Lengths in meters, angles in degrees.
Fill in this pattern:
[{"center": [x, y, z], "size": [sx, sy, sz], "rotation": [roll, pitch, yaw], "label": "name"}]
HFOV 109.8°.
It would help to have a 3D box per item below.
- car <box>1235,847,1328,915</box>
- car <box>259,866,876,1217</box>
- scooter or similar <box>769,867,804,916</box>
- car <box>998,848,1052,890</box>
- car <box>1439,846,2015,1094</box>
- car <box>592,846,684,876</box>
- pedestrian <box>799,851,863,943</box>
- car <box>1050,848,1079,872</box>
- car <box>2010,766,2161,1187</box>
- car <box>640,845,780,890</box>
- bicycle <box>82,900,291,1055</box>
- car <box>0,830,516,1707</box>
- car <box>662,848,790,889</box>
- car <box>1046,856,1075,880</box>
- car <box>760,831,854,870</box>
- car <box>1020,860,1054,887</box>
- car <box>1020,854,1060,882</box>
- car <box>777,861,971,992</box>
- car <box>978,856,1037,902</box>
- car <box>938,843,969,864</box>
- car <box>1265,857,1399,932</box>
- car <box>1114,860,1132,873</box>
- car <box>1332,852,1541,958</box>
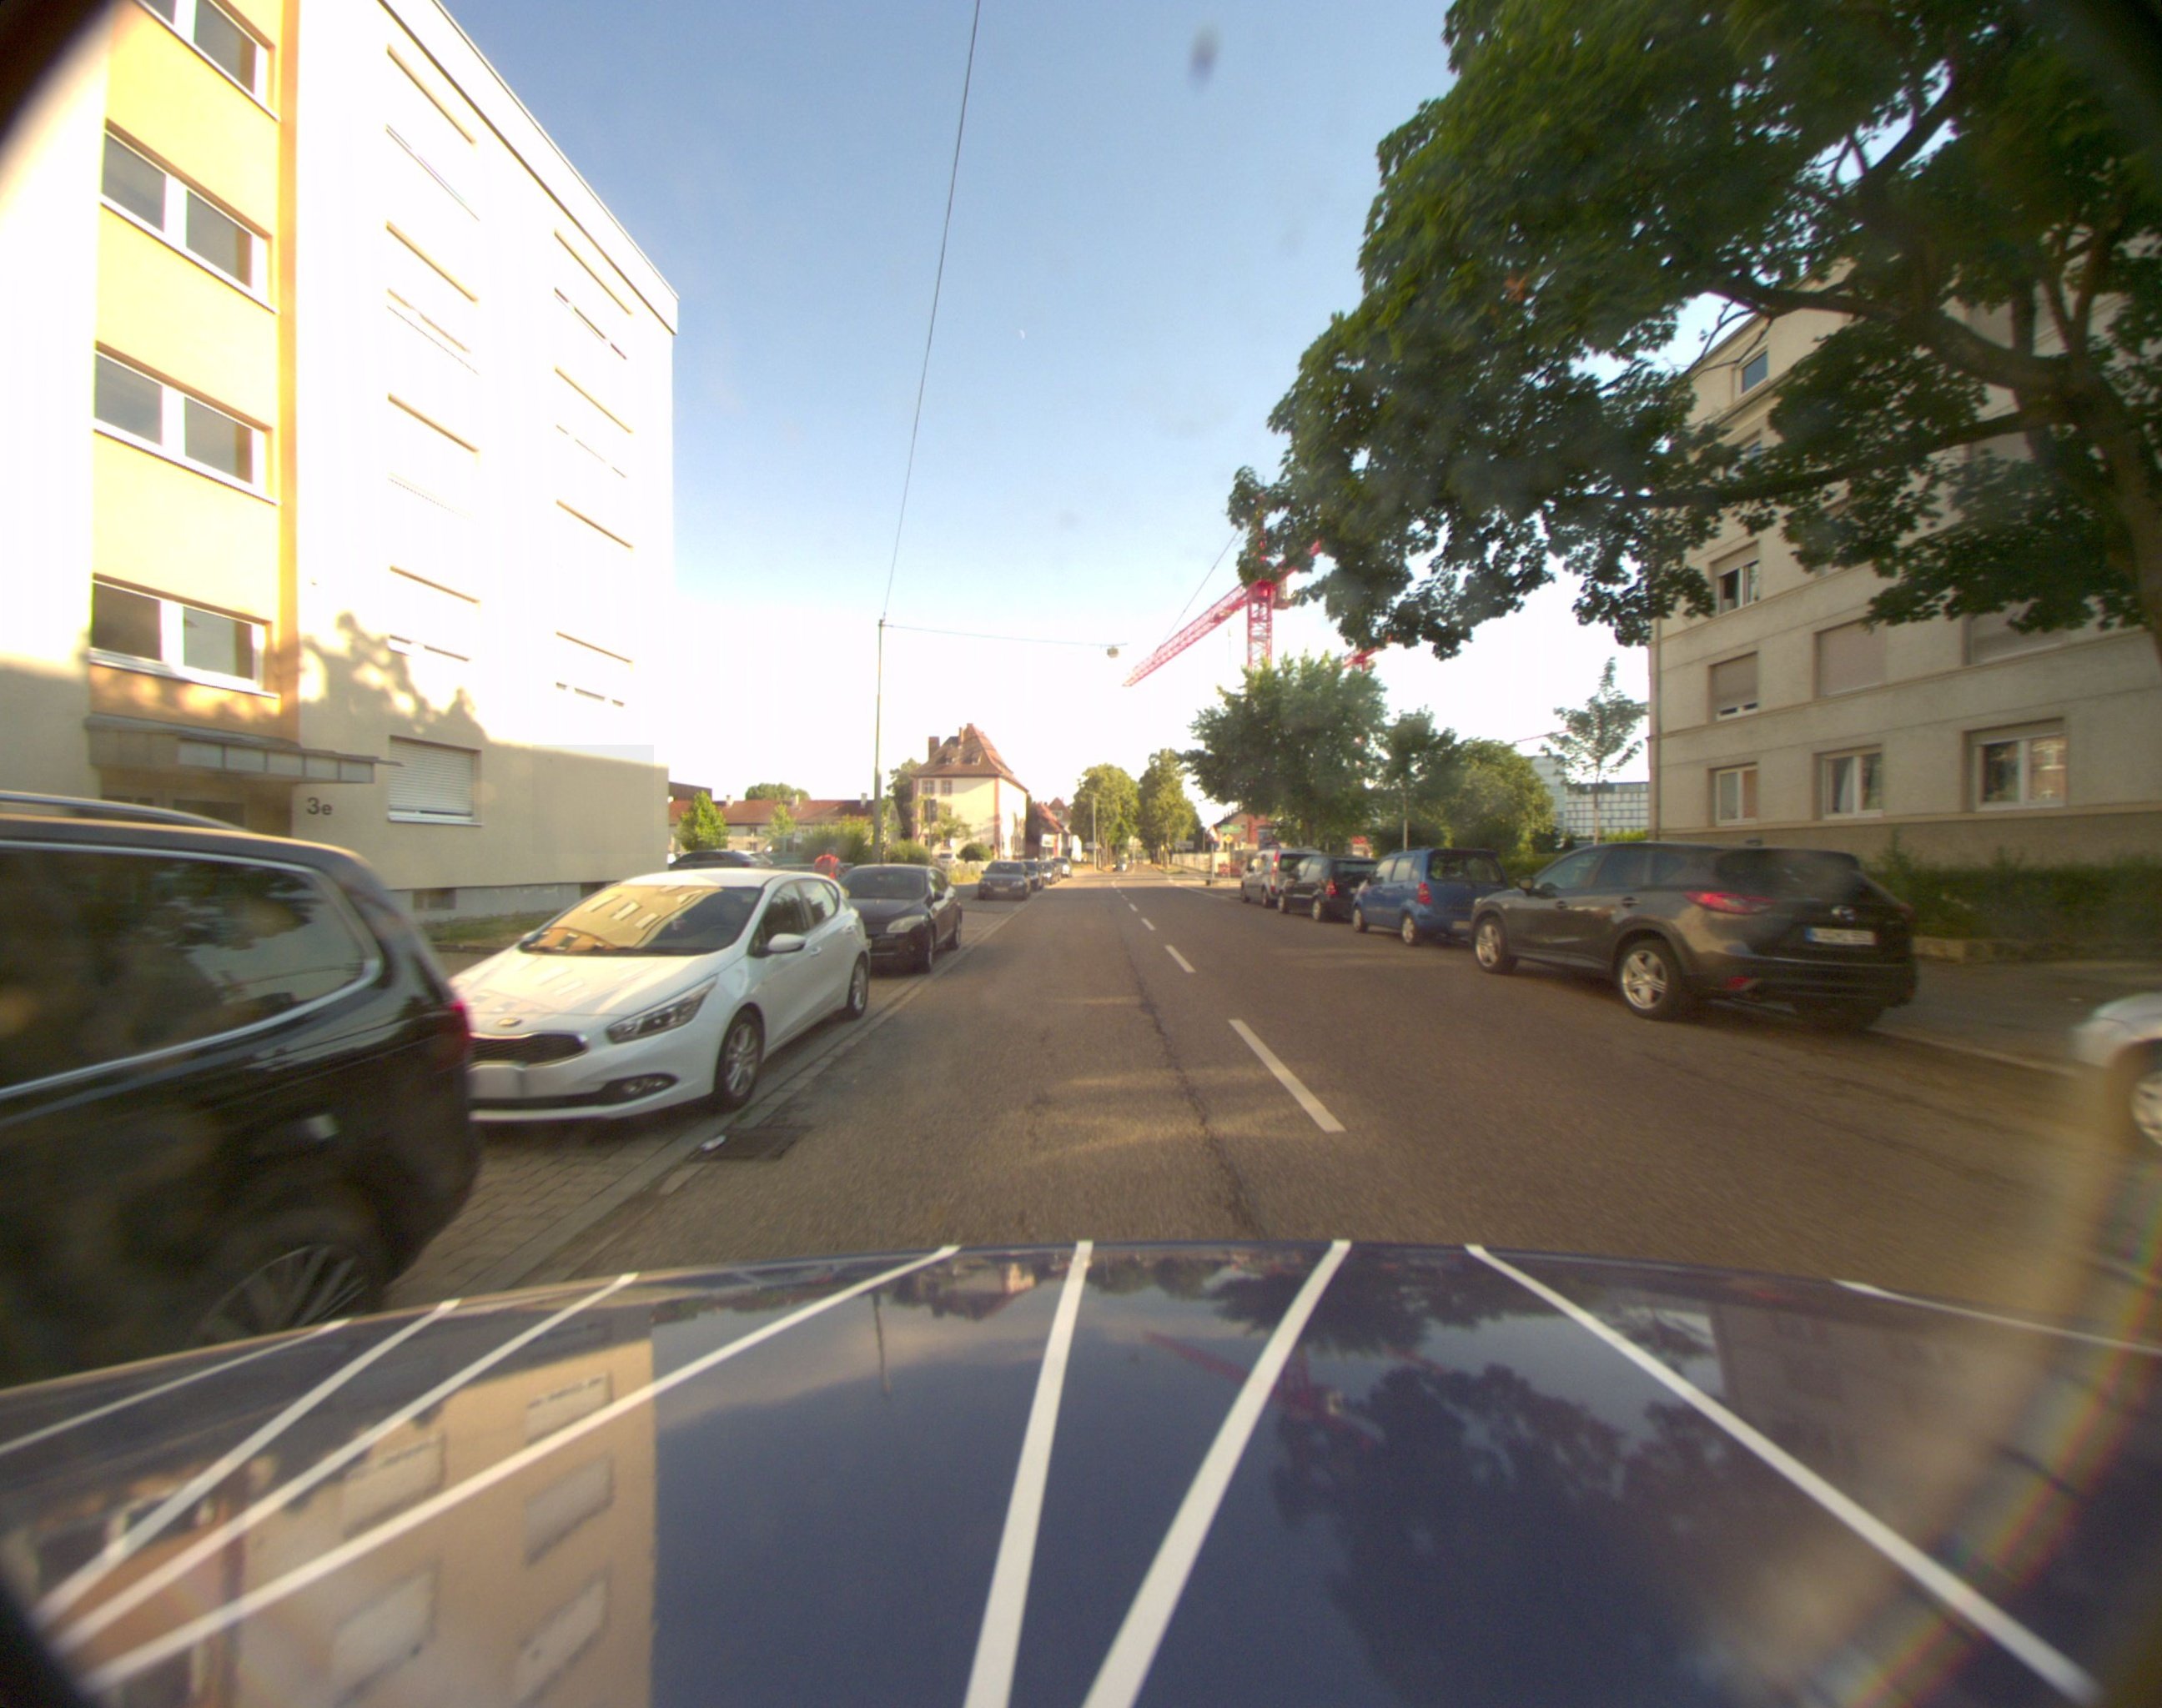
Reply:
[{"center": [6.151, 0.743, 23.838], "size": [1.846, 1.885, 4.486], "rotation": [0, 1, 2], "label": "car"}, {"center": [-3.024, 0.946, 5.684], "size": [1.776, 1.499, 3.999], "rotation": [-3, 1, 1], "label": "car"}, {"center": [-7.740, 0.960, 19.993], "size": [0.334, 1.185, 1.240], "rotation": [4, 1, 1], "label": "scooter or similar"}, {"center": [-2.654, 0.671, 37.234], "size": [1.906, 1.769, 4.582], "rotation": [5, 1, 3], "label": "car"}, {"center": [5.854, 0.838, 7.932], "size": [1.878, 1.749, 4.688], "rotation": [2, 1, -1], "label": "car"}, {"center": [-26.513, 0.401, 45.525], "size": [4.487, 1.592, 1.732], "rotation": [-2, 1, 4], "label": "car"}, {"center": [-5.455, 0.908, 16.658], "size": [0.891, 1.880, 1.279], "rotation": [-2, 1, 1], "label": "pedestrian"}, {"center": [-1.329, 0.466, 62.164], "size": [1.925, 1.769, 4.810], "rotation": [3, 1, 3], "label": "car"}, {"center": [6.131, 0.631, 2.163], "size": [1.998, 2.002, 3.999], "rotation": [2, 1, 1], "label": "car"}, {"center": [-13.932, 0.478, 28.678], "size": [4.486, 1.593, 1.732], "rotation": [0, 1, 4], "label": "car"}, {"center": [-8.003, 1.056, 6.870], "size": [0.334, 1.185, 1.240], "rotation": [-1, 1, 2], "label": "bicycle"}, {"center": [-2.877, 0.821, 0.305], "size": [1.776, 1.668, 4.646], "rotation": [2, 1, 1], "label": "car"}, {"center": [-14.779, 0.581, 31.729], "size": [4.487, 1.447, 1.732], "rotation": [-2, 1, 4], "label": "car"}, {"center": [-1.462, 0.999, 55.648], "size": [1.746, 1.532, 4.440], "rotation": [1, 1, 3], "label": "car"}, {"center": [-13.970, -0.183, 38.933], "size": [3.997, 1.783, 2.000], "rotation": [-2, 1, 1], "label": "car"}, {"center": [-2.379, 1.079, 41.951], "size": [1.655, 1.427, 3.960], "rotation": [0, -2, -1], "label": "car"}, {"center": [-2.443, 0.794, 46.827], "size": [1.906, 1.521, 4.810], "rotation": [1, 1, 3], "label": "car"}, {"center": [-2.913, 0.923, 11.800], "size": [1.803, 1.498, 4.620], "rotation": [-1, 1, -1], "label": "car"}, {"center": [-2.771, 0.894, 29.619], "size": [1.891, 1.552, 4.945], "rotation": [0, 1, -1], "label": "car"}, {"center": [-10.522, -0.070, 62.785], "size": [1.657, 1.652, 4.000], "rotation": [-2, 1, 3], "label": "car"}, {"center": [6.040, 0.912, 18.830], "size": [1.878, 1.543, 3.999], "rotation": [1, 1, -1], "label": "car"}, {"center": [5.107, 1.522, 92.007], "size": [1.776, 1.492, 3.673], "rotation": [-1, 0, -2], "label": "car"}, {"center": [6.282, 0.806, 13.994], "size": [1.878, 1.543, 3.999], "rotation": [-2, 1, -1], "label": "car"}]
